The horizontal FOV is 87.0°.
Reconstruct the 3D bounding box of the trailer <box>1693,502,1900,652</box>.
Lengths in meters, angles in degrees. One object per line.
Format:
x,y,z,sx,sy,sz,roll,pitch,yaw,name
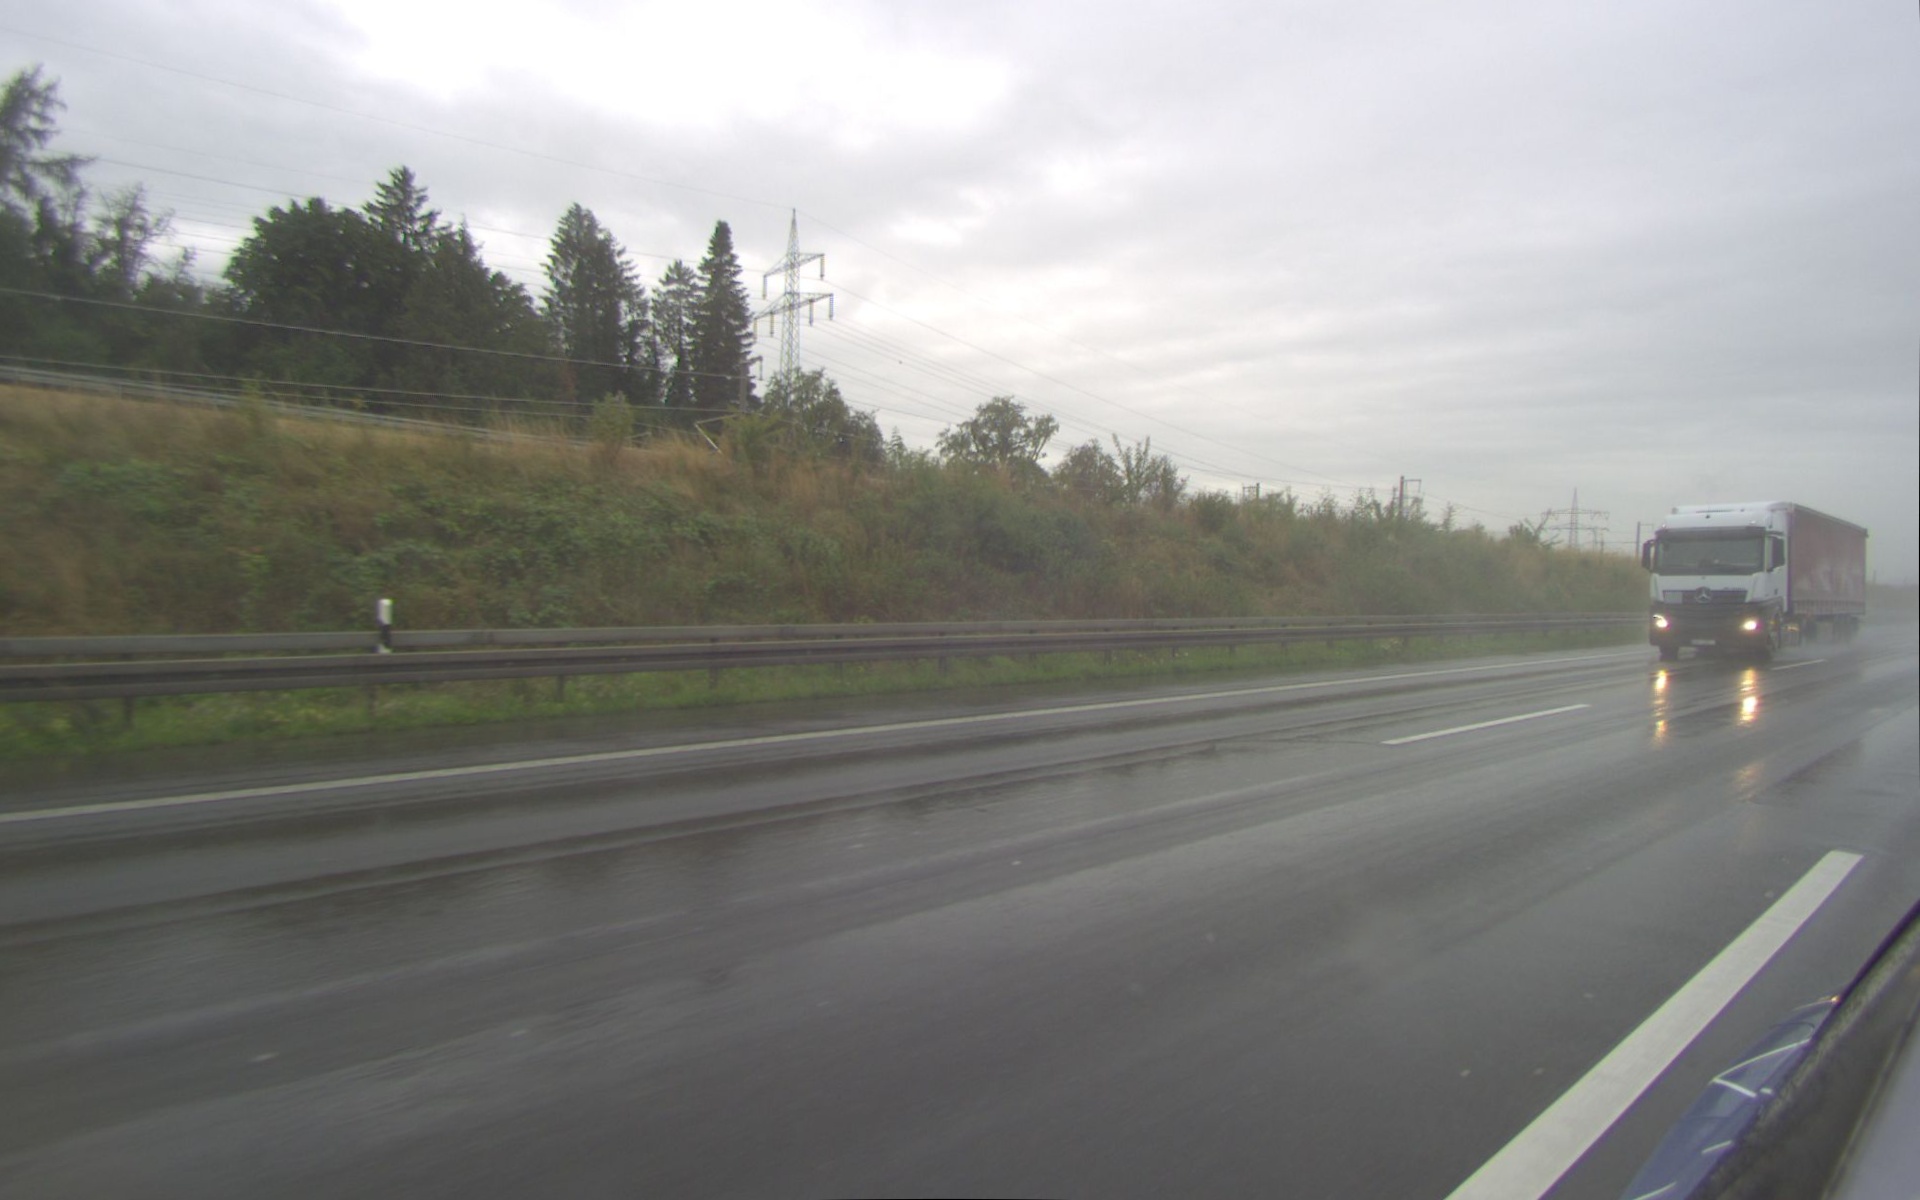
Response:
27.032,-0.554,32.161,16.254,3.813,2.484,0,0,-41,trailer

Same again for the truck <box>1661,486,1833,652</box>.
21.007,-0.731,26.899,6.090,3.938,2.456,1,0,-41,truck
